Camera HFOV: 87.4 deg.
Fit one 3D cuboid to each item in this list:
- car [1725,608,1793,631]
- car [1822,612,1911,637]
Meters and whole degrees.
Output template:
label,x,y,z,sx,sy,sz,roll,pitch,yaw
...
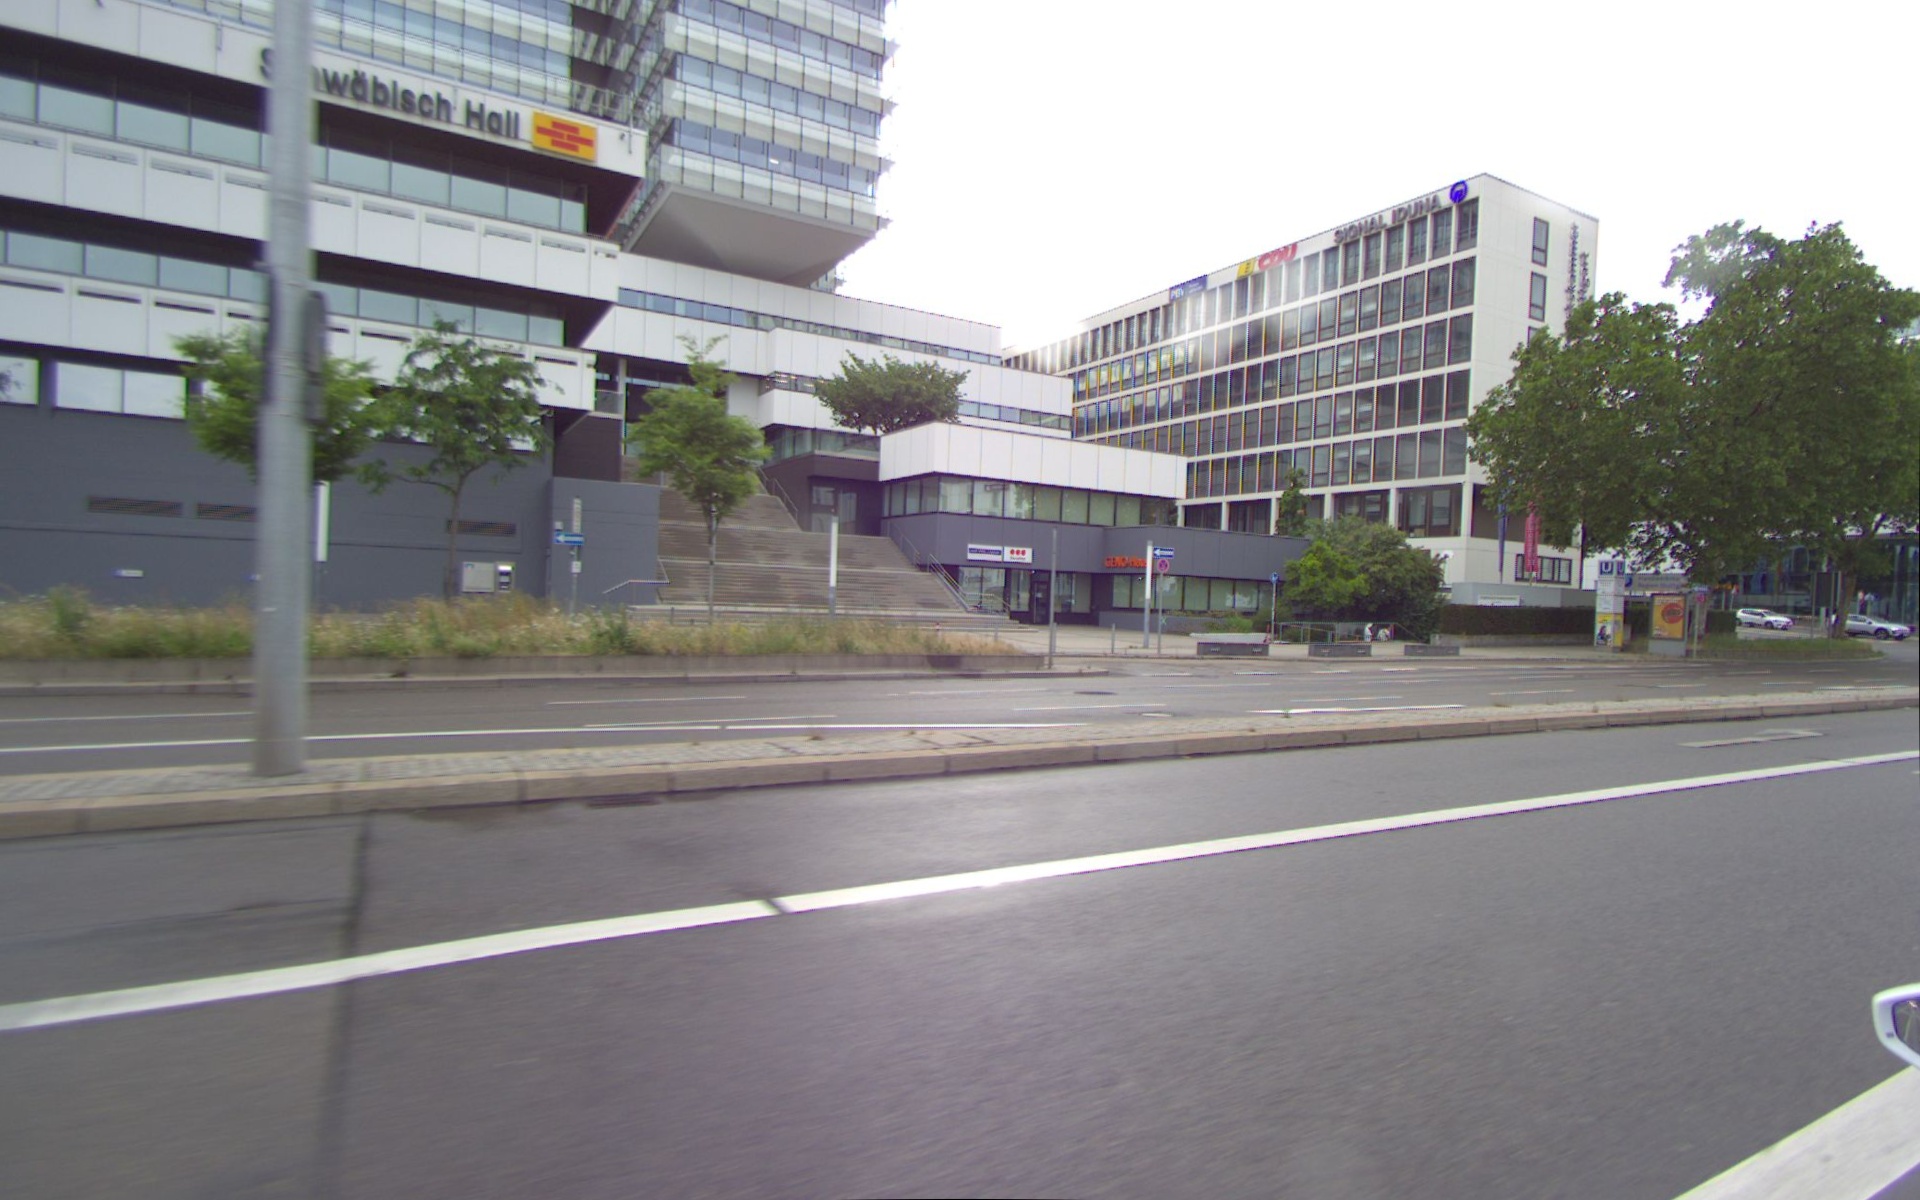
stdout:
label,x,y,z,sx,sy,sz,roll,pitch,yaw
car,64.235,1.550,80.808,1.862,1.653,3.990,2,-1,-13
car,65.673,1.732,72.875,1.862,1.653,4.505,2,-1,-13
